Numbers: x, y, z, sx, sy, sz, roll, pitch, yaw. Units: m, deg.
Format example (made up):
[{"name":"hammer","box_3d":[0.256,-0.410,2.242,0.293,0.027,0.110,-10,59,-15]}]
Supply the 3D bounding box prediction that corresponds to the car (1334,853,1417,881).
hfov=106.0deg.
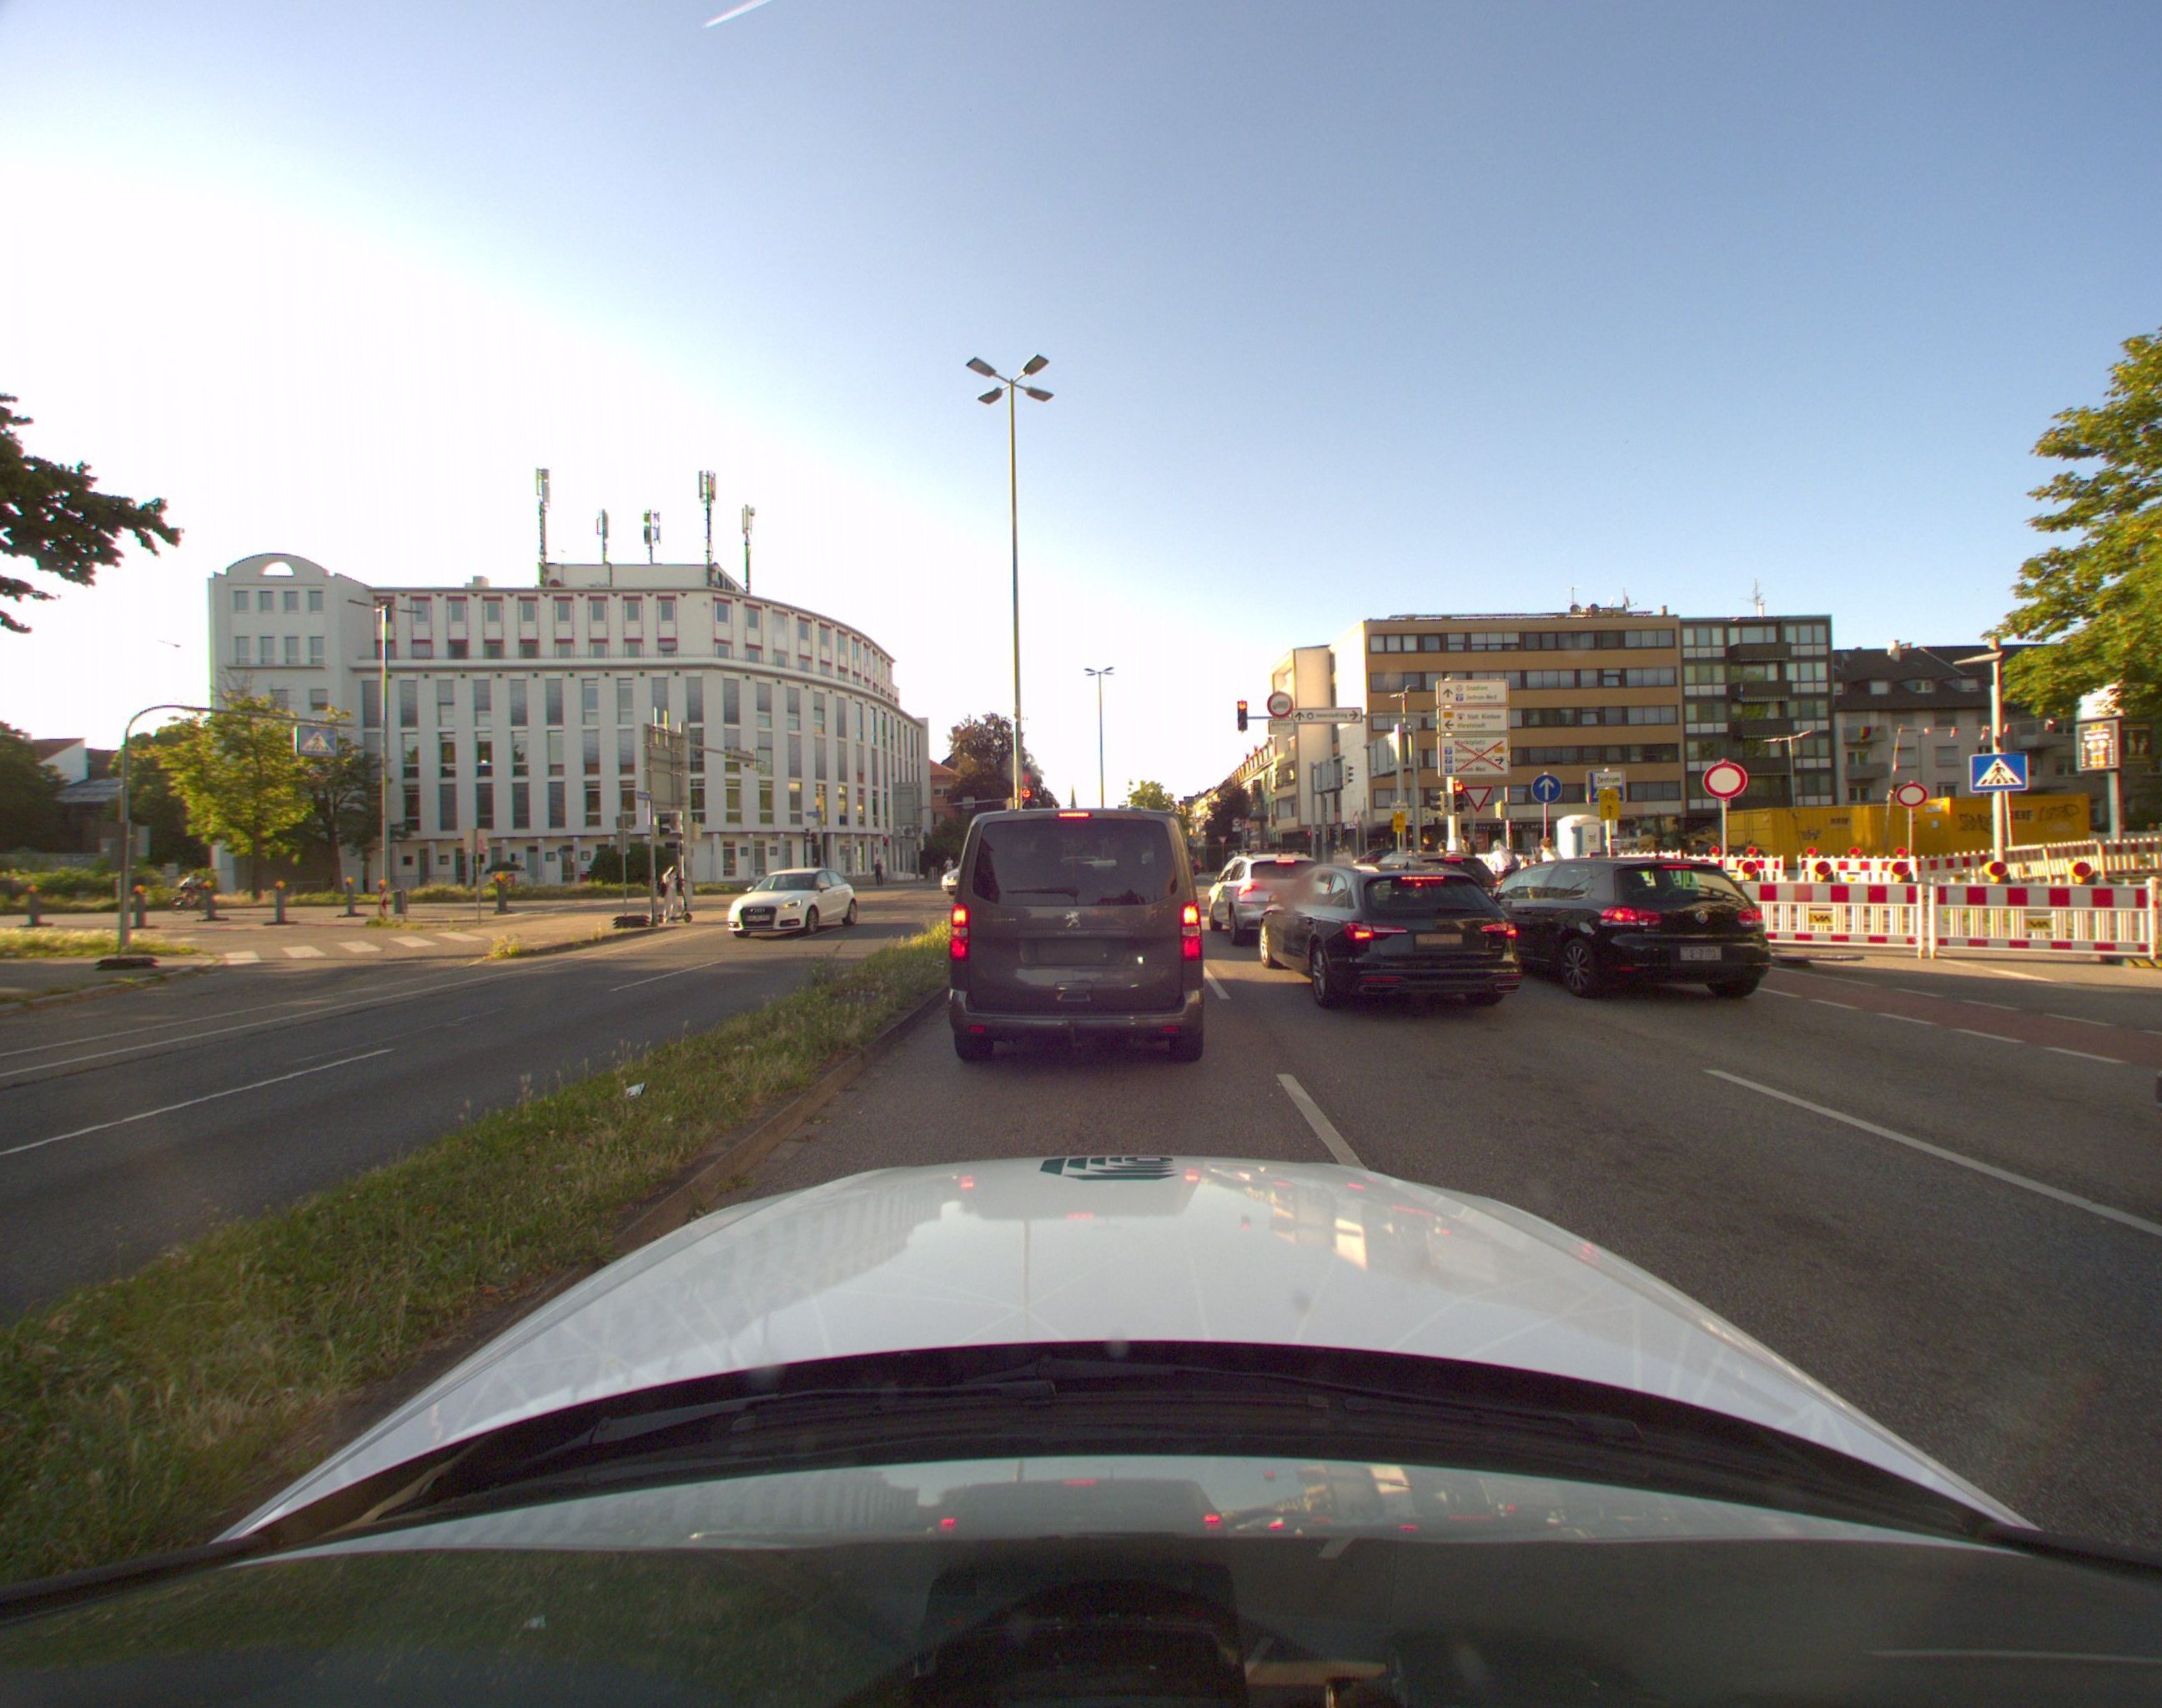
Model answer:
[{"name":"car","box_3d":[16.281,0.700,45.073,3.980,1.418,1.679,-2,0,-5]}]

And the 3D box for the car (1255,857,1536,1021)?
[{"name":"car","box_3d":[3.199,0.756,9.241,1.675,1.421,4.215,0,0,2]}]

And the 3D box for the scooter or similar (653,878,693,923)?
[{"name":"scooter or similar","box_3d":[-11.487,1.302,22.926,0.893,1.234,0.370,-2,0,-10]}]

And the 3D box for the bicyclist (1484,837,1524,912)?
[{"name":"bicyclist","box_3d":[8.911,0.422,17.189,0.439,1.525,0.725,-2,0,2]}]

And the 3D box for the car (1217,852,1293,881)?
[{"name":"car","box_3d":[10.470,0.772,49.224,4.109,1.594,1.793,-2,-1,-4]}]

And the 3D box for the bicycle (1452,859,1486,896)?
[{"name":"bicycle","box_3d":[12.778,0.748,26.830,0.371,1.161,1.499,0,1,-2]}]

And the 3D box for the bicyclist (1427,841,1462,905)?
[{"name":"bicyclist","box_3d":[8.977,0.456,20.125,0.511,1.525,0.725,-2,0,1]}]

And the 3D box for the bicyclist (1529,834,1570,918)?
[{"name":"bicyclist","box_3d":[8.643,0.397,15.036,0.439,1.525,0.482,-2,0,1]}]

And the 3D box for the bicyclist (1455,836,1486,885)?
[{"name":"bicyclist","box_3d":[12.773,0.207,26.713,0.616,1.589,0.813,0,0,-3]}]

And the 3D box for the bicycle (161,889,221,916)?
[{"name":"bicycle","box_3d":[-37.382,2.028,34.208,1.795,1.042,0.502,-2,0,-5]}]

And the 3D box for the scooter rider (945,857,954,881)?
[{"name":"scooter rider","box_3d":[-9.464,1.101,58.712,0.479,1.697,0.636,-2,0,1]}]

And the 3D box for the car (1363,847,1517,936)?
[{"name":"car","box_3d":[6.584,0.635,15.301,1.499,1.449,3.306,-2,0,2]}]

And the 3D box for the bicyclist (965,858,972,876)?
[{"name":"bicyclist","box_3d":[-9.676,1.149,70.194,0.461,1.522,0.469,-2,0,1]}]

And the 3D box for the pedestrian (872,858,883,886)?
[{"name":"pedestrian","box_3d":[-12.818,1.147,51.372,0.626,1.722,0.668,-2,0,-12]}]

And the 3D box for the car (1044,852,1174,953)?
[{"name":"car","box_3d":[0.503,0.758,14.739,1.986,1.530,4.002,-2,0,2]}]

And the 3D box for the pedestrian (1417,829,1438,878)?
[{"name":"pedestrian","box_3d":[13.129,-0.020,30.843,0.567,1.834,0.488,-2,0,4]}]

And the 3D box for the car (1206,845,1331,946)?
[{"name":"car","box_3d":[3.295,0.661,14.925,1.523,1.613,3.746,0,0,2]}]

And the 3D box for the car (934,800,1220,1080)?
[{"name":"car","box_3d":[0.041,0.577,7.699,1.900,1.863,4.528,0,0,2]}]

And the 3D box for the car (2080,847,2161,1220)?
[{"name":"car","box_3d":[5.121,0.686,1.101,1.809,1.449,4.665,-1,0,-1]}]

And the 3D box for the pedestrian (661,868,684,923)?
[{"name":"pedestrian","box_3d":[-11.535,1.164,22.988,0.474,1.505,0.334,-2,0,-10]}]

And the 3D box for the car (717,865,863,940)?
[{"name":"car","box_3d":[-6.444,1.017,18.455,1.683,1.387,3.691,-3,0,4]}]

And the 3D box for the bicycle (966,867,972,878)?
[{"name":"bicycle","box_3d":[-9.665,1.573,70.135,0.289,0.949,1.073,-2,0,2]}]

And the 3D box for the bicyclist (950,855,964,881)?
[{"name":"bicyclist","box_3d":[-9.718,1.069,63.909,0.830,2.014,1.065,0,-1,3]}]

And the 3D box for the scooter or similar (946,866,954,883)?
[{"name":"scooter or similar","box_3d":[-9.459,1.455,58.800,0.284,1.189,1.169,-2,0,2]}]

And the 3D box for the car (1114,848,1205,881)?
[{"name":"car","box_3d":[3.848,0.503,39.691,4.259,1.441,1.685,-2,0,-34]}]

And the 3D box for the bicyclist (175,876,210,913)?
[{"name":"bicyclist","box_3d":[-37.331,1.686,34.207,0.884,1.496,0.457,-2,0,-5]}]

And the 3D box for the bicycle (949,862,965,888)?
[{"name":"bicycle","box_3d":[-9.727,1.622,63.910,0.712,2.013,2.564,-2,0,2]}]

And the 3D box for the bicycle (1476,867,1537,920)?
[{"name":"bicycle","box_3d":[8.912,0.807,17.104,0.335,1.008,1.856,-2,0,2]}]

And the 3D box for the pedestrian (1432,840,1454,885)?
[{"name":"pedestrian","box_3d":[13.798,0.314,31.005,0.599,1.671,0.455,-2,0,3]}]

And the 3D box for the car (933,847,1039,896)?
[{"name":"car","box_3d":[-3.790,0.687,33.155,1.974,1.817,4.257,-2,0,34]}]

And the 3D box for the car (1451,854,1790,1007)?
[{"name":"car","box_3d":[5.994,0.733,9.641,1.627,1.449,3.746,0,0,2]}]

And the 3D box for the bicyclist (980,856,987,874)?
[{"name":"bicyclist","box_3d":[-8.571,0.978,71.534,0.475,1.555,0.510,-2,0,1]}]
